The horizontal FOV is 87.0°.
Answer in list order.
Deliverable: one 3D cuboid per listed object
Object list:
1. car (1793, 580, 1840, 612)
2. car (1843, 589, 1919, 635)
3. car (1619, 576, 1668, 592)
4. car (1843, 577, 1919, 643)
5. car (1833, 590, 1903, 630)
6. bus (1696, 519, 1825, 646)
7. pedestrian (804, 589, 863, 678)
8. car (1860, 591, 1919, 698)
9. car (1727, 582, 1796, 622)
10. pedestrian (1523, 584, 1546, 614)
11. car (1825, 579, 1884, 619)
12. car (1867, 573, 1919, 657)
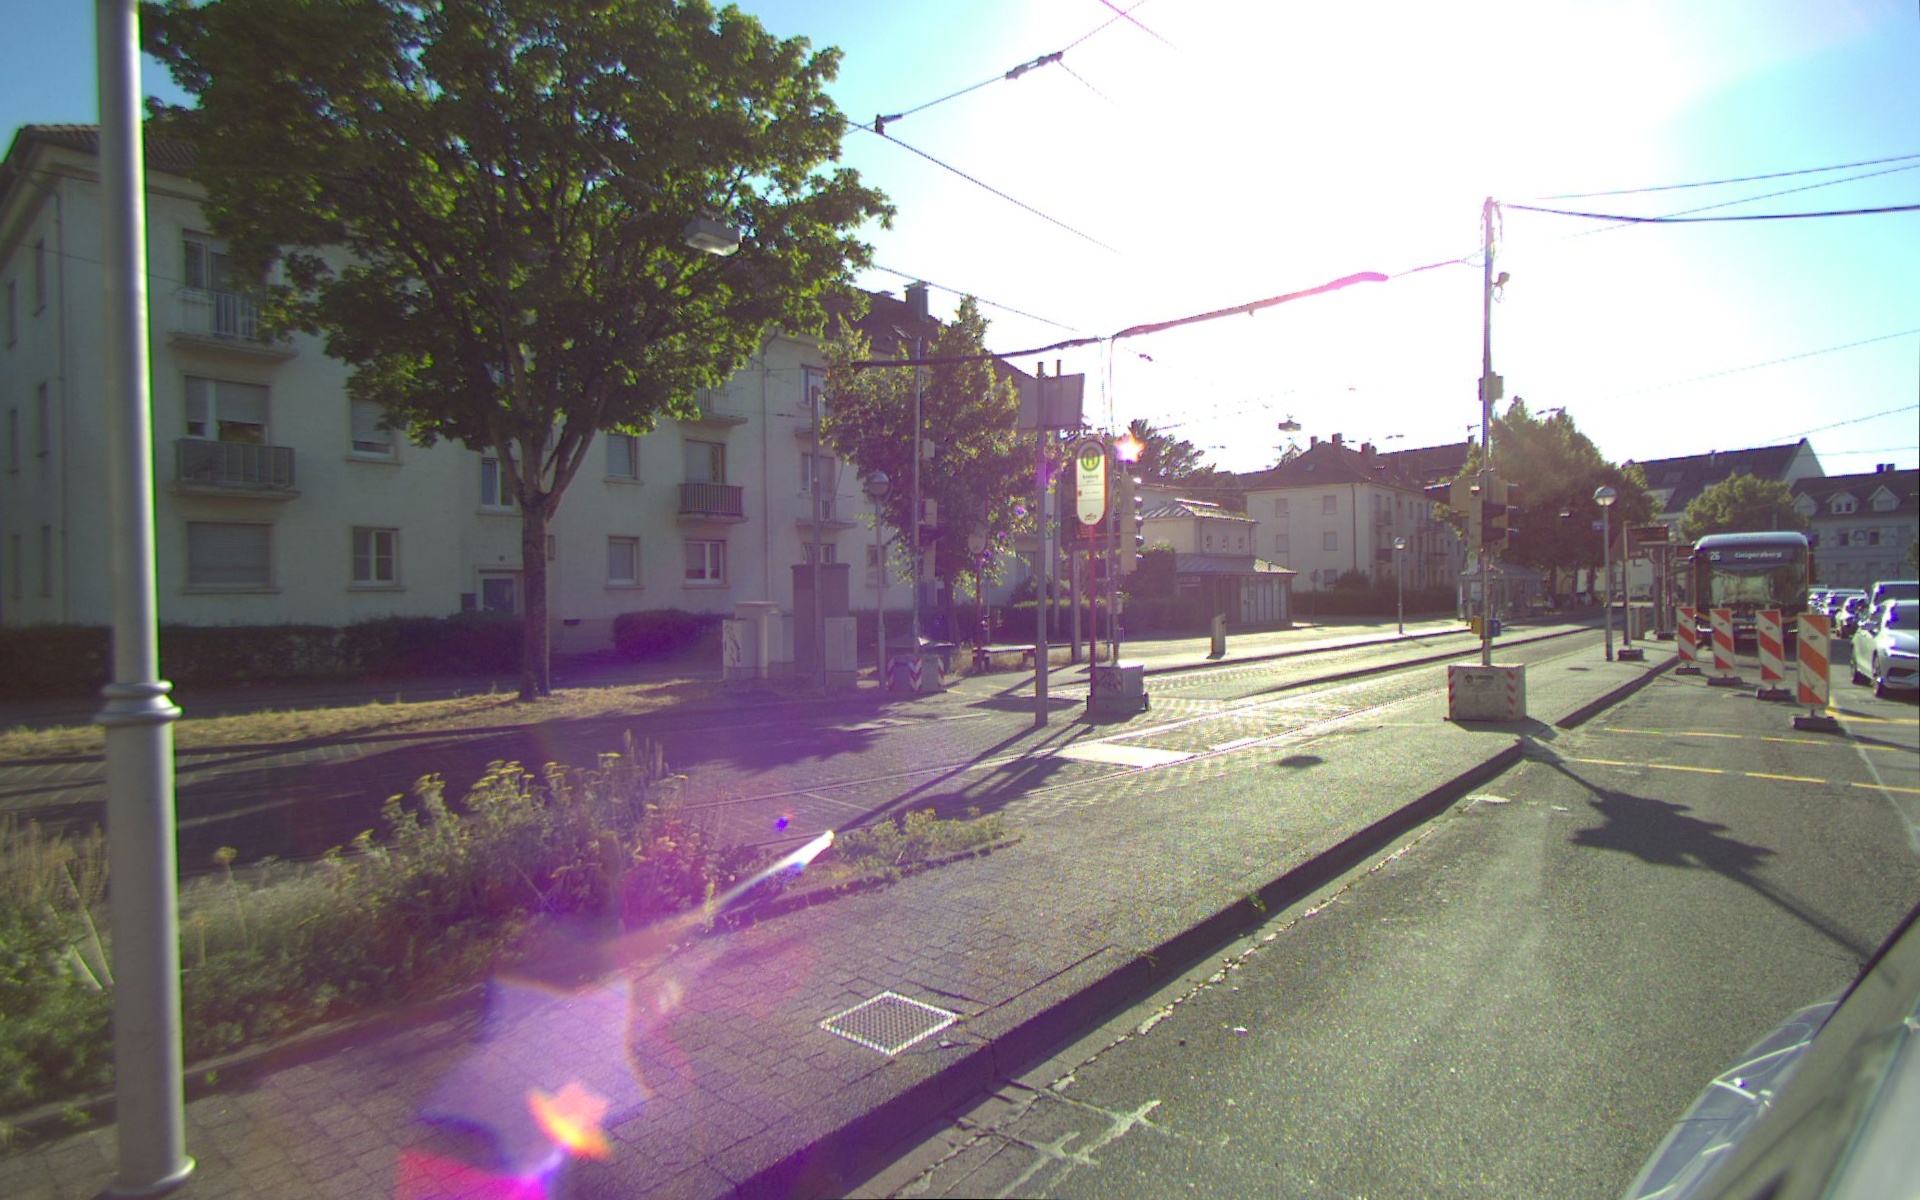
[{"bbox_3d":[48.227,-0.263,56.997,1.962,1.726,4.753,1,1,41],"label":"car"},{"bbox_3d":[31.603,0.354,34.672,1.962,1.477,4.753,1,1,41],"label":"car"},{"bbox_3d":[82.670,-1.891,122.417,1.708,1.879,4.595,-1,1,-33],"label":"car"},{"bbox_3d":[27.974,0.258,30.520,1.962,1.850,4.959,1,1,41],"label":"car"},{"bbox_3d":[36.150,0.339,40.387,1.962,1.477,4.753,1,1,41],"label":"car"},{"bbox_3d":[25.537,-0.524,32.125,2.738,3.344,11.858,0,1,40],"label":"bus"},{"bbox_3d":[-2.395,0.605,19.250,0.785,1.640,0.817,0,1,33],"label":"pedestrian"},{"bbox_3d":[15.021,0.601,15.247,1.812,1.472,4.161,1,1,37],"label":"car"},{"bbox_3d":[31.423,0.051,39.618,1.962,1.477,4.753,1,1,41],"label":"car"},{"bbox_3d":[30.953,-0.057,54.502,0.811,1.631,0.841,0,1,6],"label":"pedestrian"},{"bbox_3d":[41.420,-0.074,46.955,1.962,1.726,4.753,1,1,41],"label":"car"},{"bbox_3d":[23.003,0.316,24.092,1.962,1.850,4.959,1,1,41],"label":"car"}]
